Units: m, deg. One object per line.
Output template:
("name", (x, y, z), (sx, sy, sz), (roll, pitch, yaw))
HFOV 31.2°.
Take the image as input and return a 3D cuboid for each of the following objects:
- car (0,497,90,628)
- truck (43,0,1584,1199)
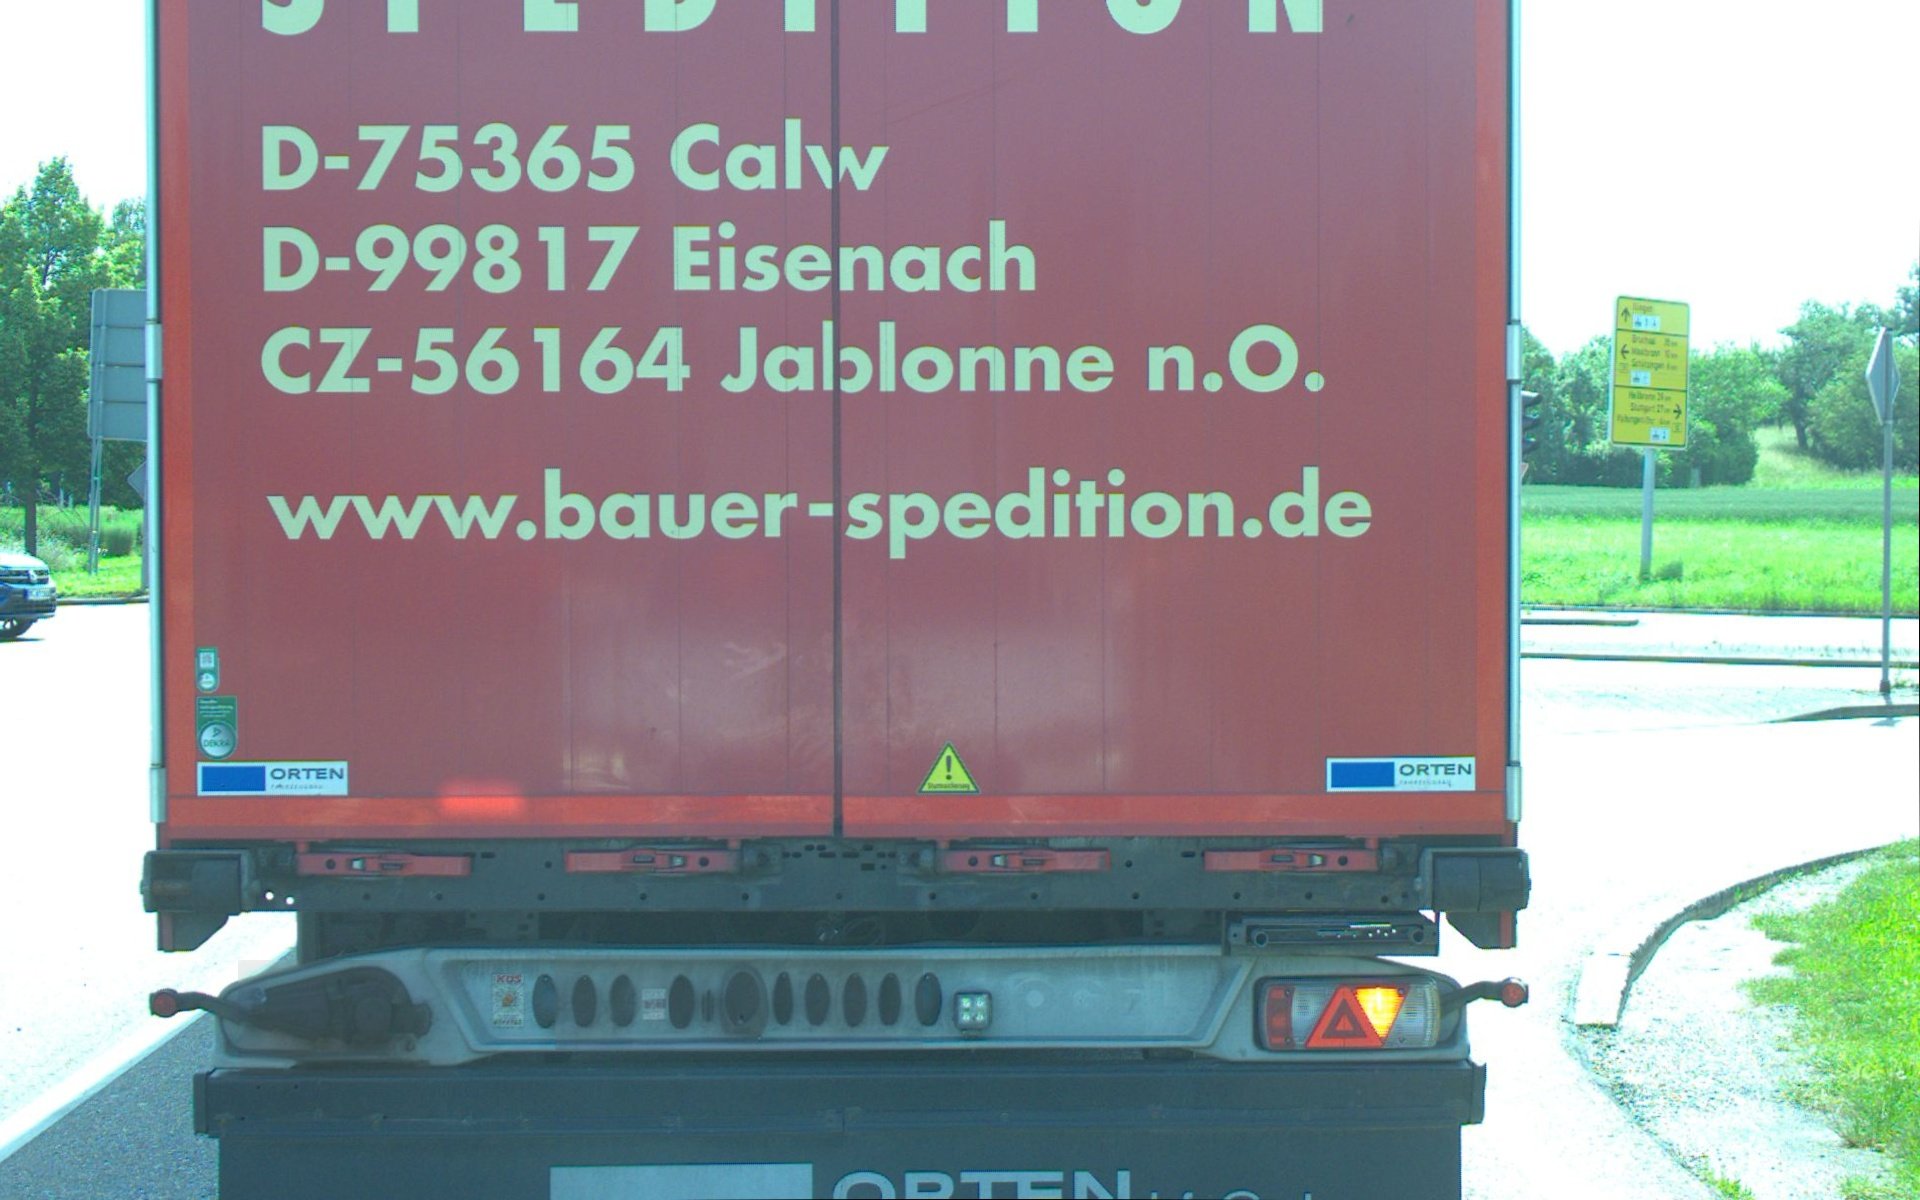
("car", (-12.202, -0.452, 38.835), (4.269, 1.424, 1.741), (1, 1, 14))
("truck", (-0.389, -0.795, 14.439), (2.734, 3.911, 16.627), (0, 1, -1))
